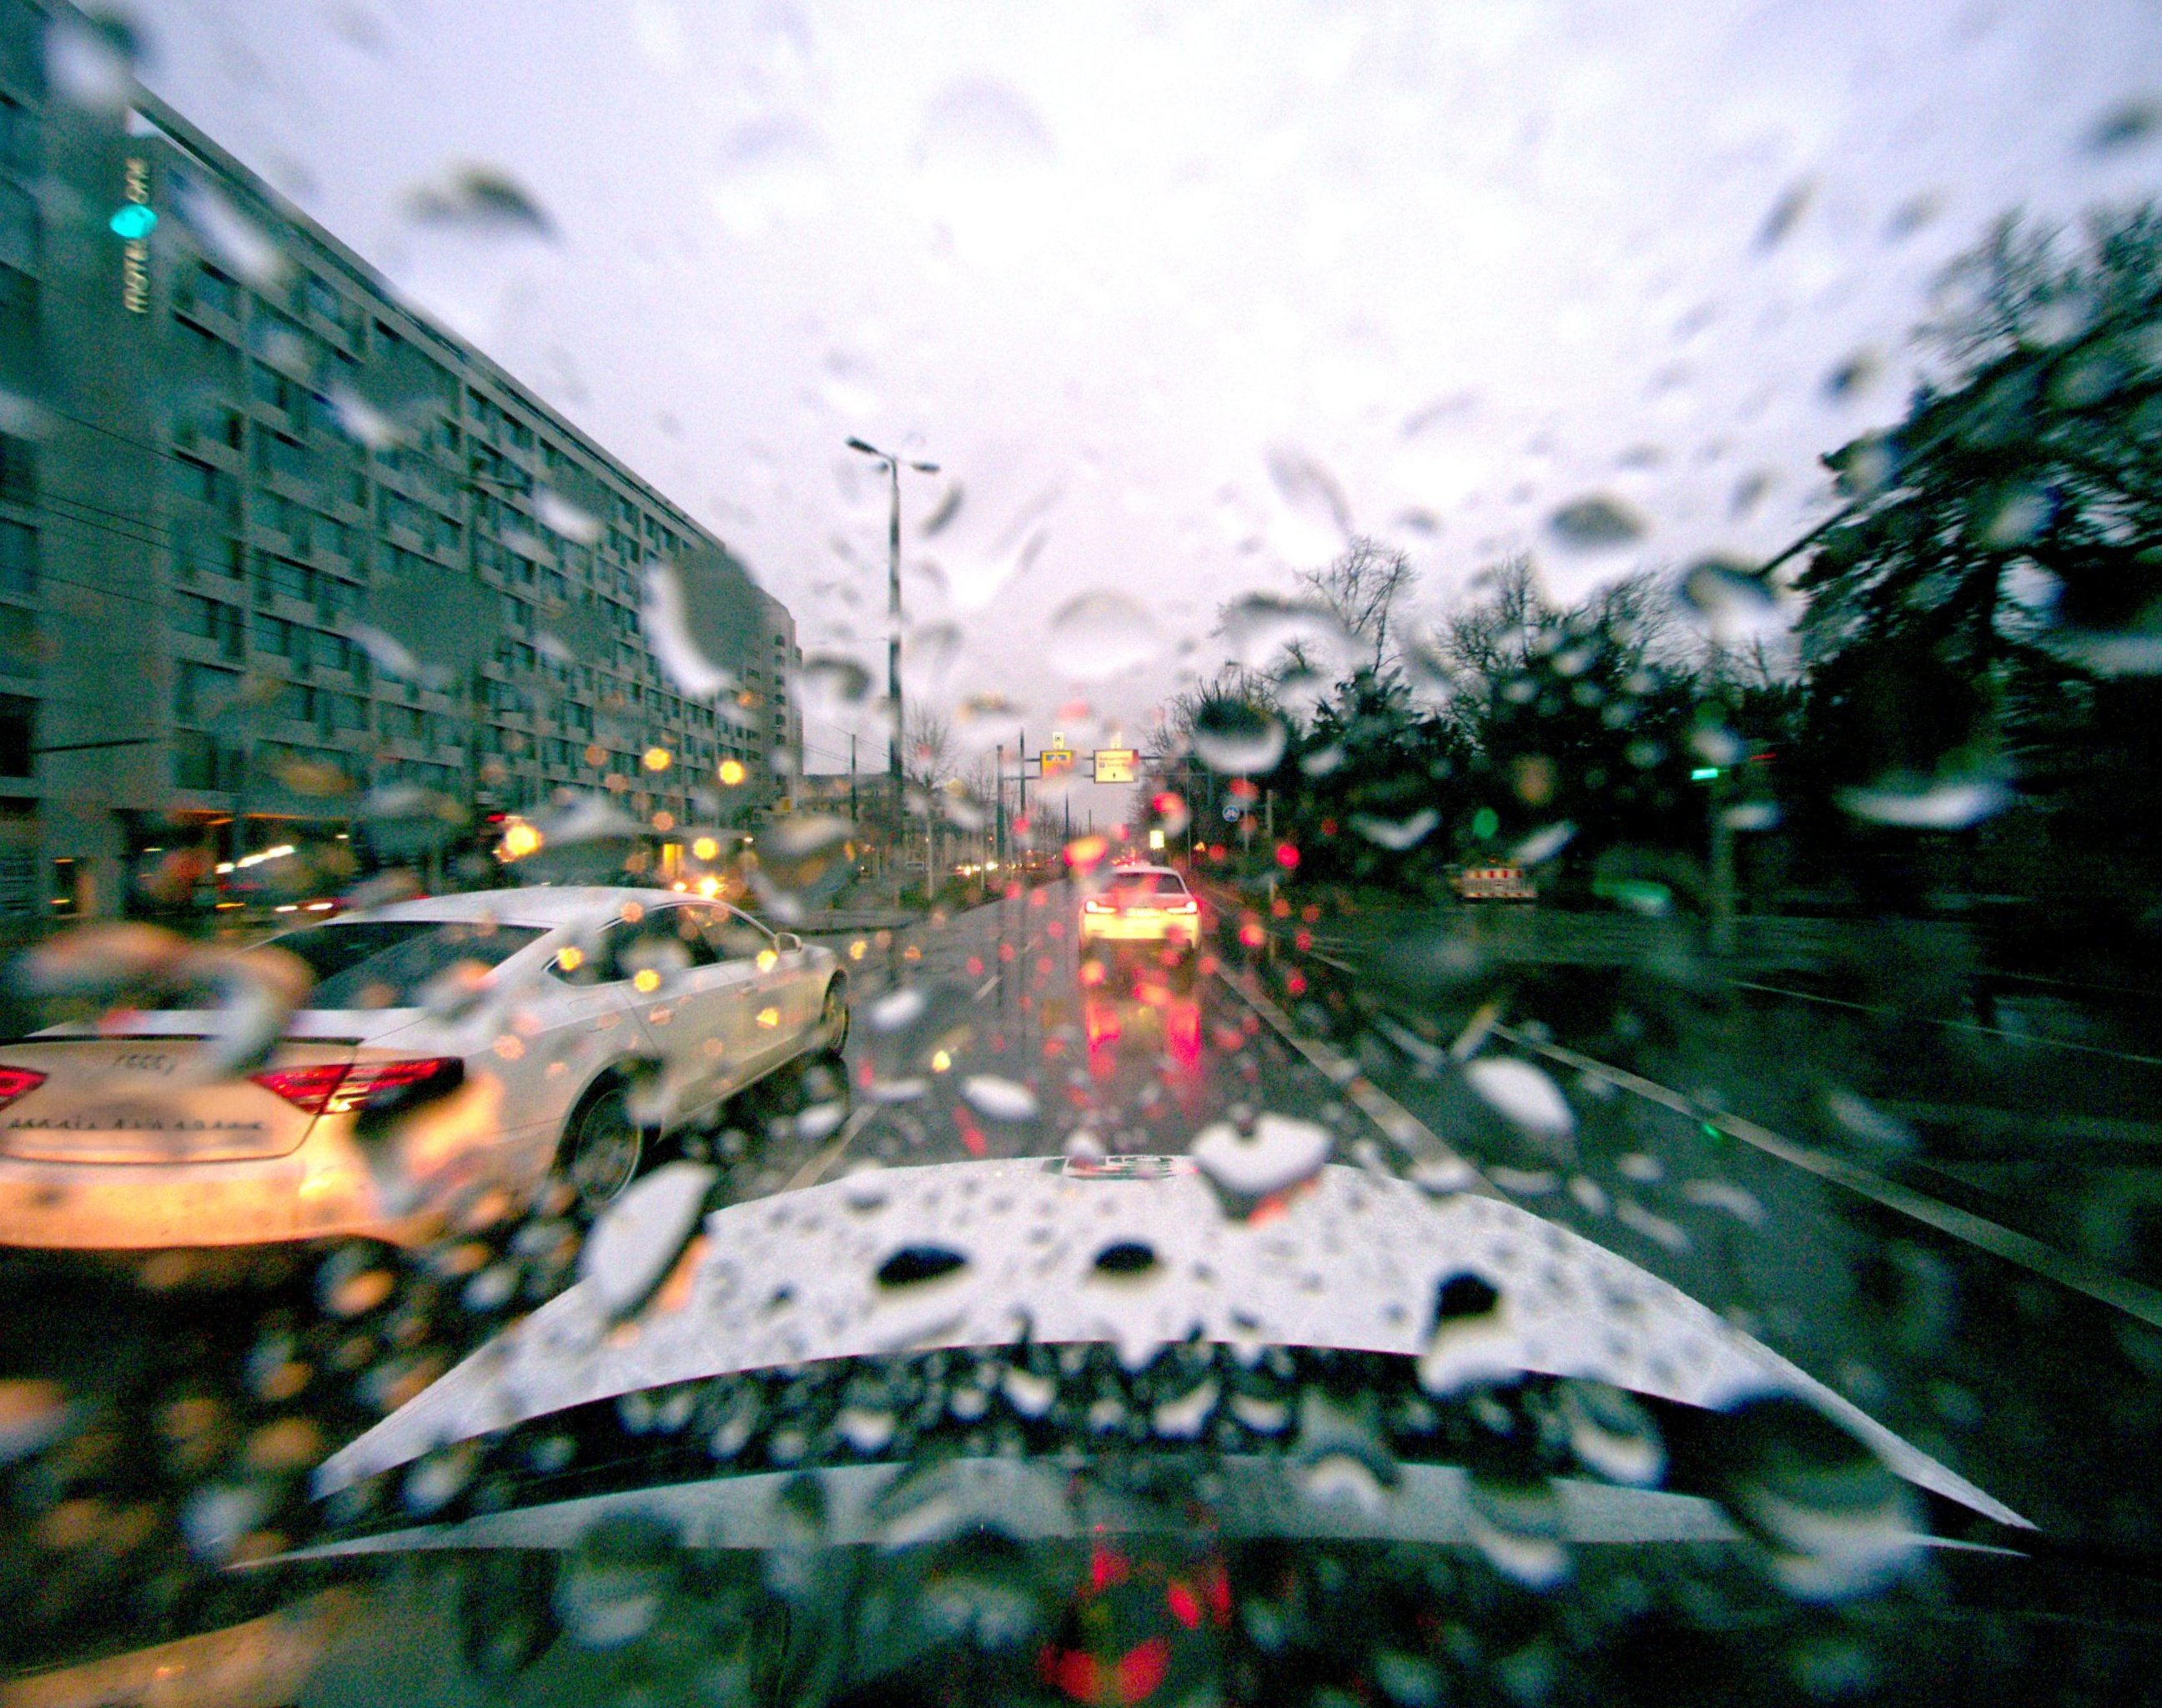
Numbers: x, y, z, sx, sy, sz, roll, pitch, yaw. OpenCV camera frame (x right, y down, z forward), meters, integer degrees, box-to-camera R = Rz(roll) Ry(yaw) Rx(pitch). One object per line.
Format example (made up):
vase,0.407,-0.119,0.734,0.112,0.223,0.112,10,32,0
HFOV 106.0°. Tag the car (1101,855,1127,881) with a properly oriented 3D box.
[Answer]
car,2.645,1.105,65.089,1.985,2.014,4.002,0,-1,2

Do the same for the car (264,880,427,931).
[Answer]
car,-25.875,1.772,28.869,1.872,1.574,4.006,0,-1,6

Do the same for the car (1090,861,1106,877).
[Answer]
car,2.159,1.882,104.281,1.985,2.014,4.002,0,-1,2

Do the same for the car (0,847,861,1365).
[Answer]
car,-2.736,0.739,4.471,1.753,1.470,4.253,0,-1,2

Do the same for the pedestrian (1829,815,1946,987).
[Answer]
pedestrian,9.210,0.513,9.317,0.713,1.879,0.672,1,-1,-14

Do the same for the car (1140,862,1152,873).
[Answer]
car,11.674,2.431,146.443,1.985,2.014,4.002,0,-1,2

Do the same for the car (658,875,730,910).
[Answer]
car,-18.711,1.822,39.669,1.995,1.462,5.074,0,-1,-12

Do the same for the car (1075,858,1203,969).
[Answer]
car,0.806,0.864,13.557,1.754,1.552,4.249,0,-1,-1

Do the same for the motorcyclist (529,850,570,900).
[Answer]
motorcyclist,-20.564,0.816,31.543,0.867,1.885,1.034,0,-1,2

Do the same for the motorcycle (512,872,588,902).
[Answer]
motorcycle,-20.557,1.252,31.628,0.867,1.057,2.968,0,-1,3

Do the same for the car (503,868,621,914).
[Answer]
car,-21.908,1.501,34.634,1.874,1.789,4.601,0,-1,2

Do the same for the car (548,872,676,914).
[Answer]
car,-18.759,1.514,32.915,1.985,1.462,5.098,0,-1,3
